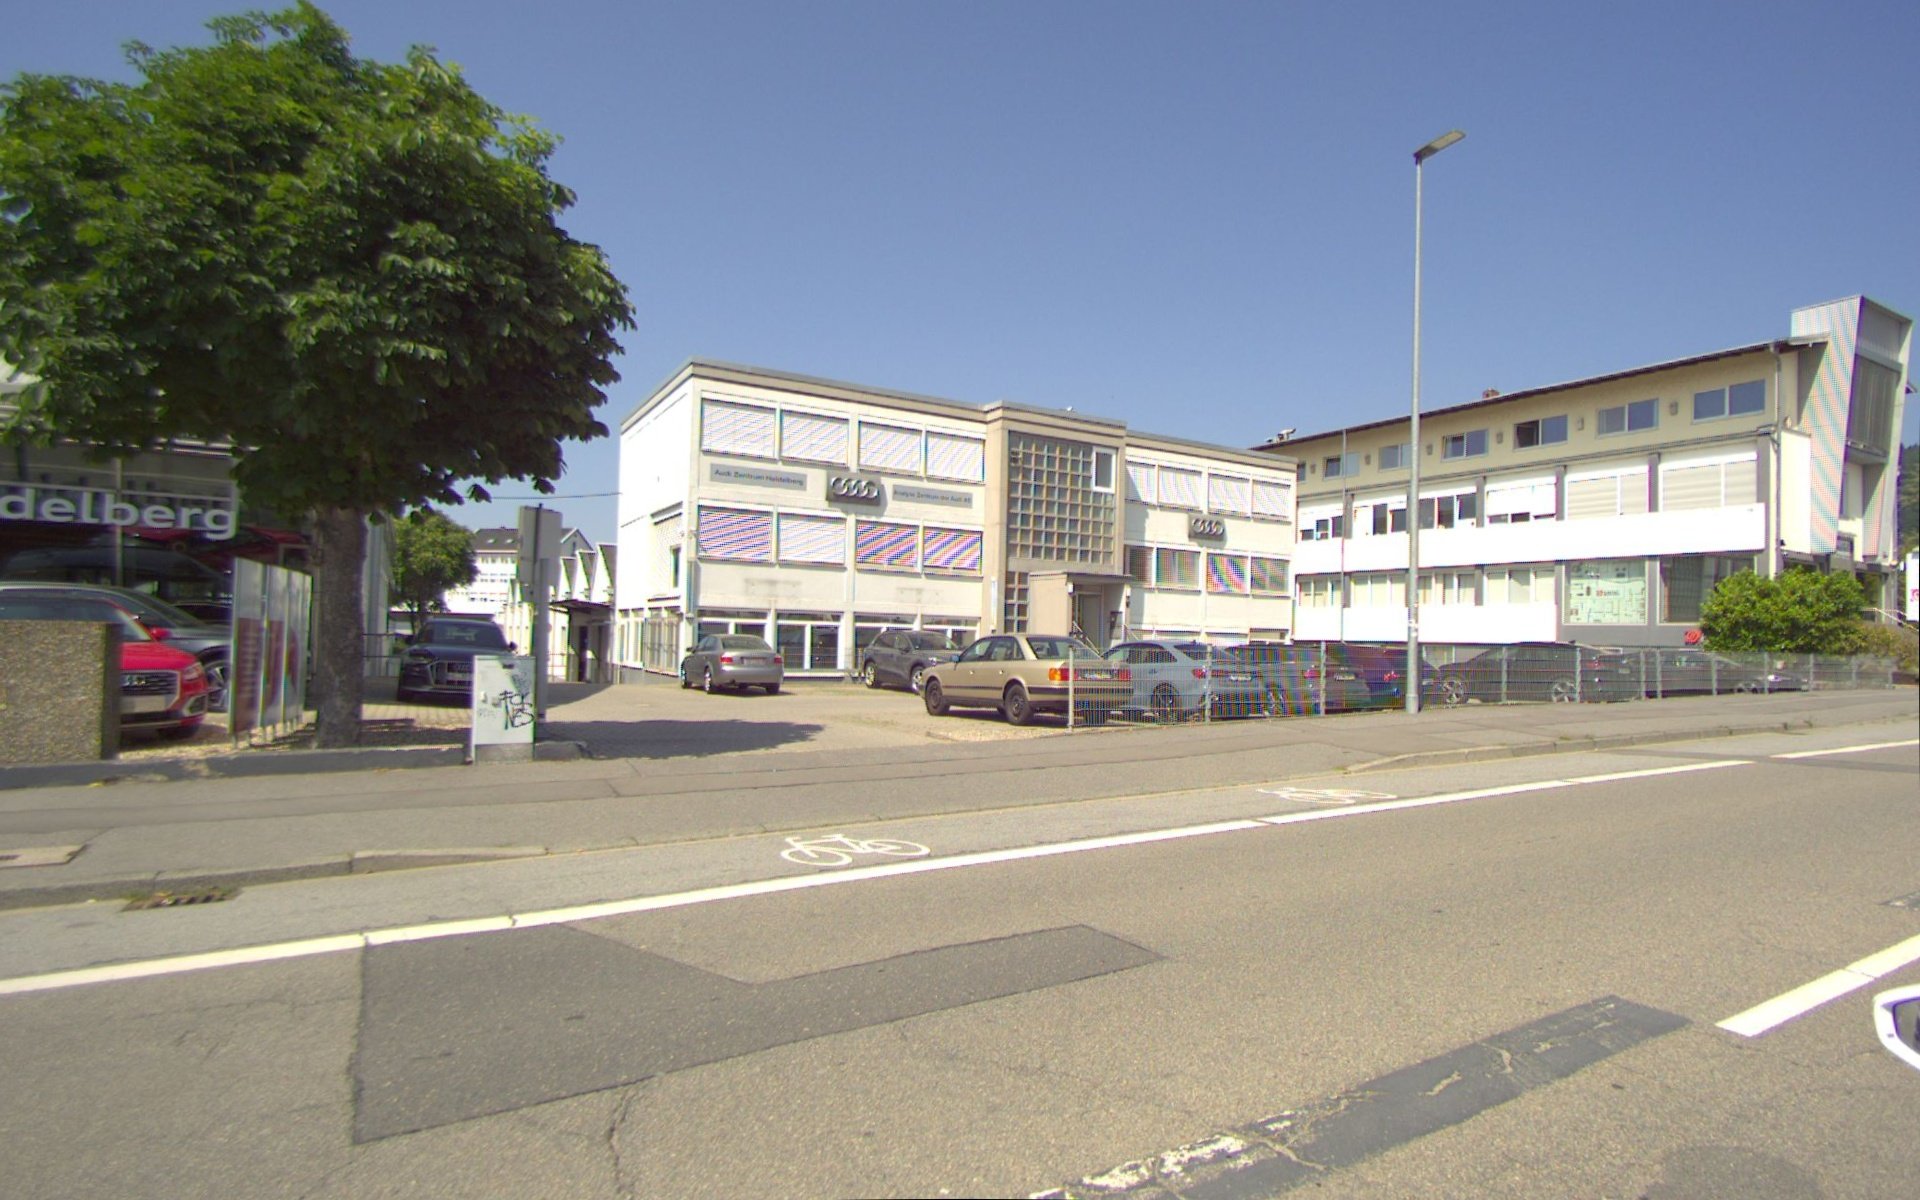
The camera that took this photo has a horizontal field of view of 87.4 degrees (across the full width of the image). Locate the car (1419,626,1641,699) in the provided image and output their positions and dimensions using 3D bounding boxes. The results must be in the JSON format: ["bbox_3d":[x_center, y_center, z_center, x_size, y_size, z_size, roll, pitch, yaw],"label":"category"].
[{"bbox_3d":[13.614,1.435,24.235,1.974,1.579,4.271,2,-2,-33],"label":"car"}]

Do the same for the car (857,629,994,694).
[{"bbox_3d":[-1.044,1.632,27.755,1.839,1.574,4.329,2,-1,-32],"label":"car"}]

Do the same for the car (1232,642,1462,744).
[{"bbox_3d":[7.715,1.821,20.382,1.840,1.510,3.963,4,1,-33],"label":"car"}]

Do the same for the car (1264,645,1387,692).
[{"bbox_3d":[13.259,2.433,36.613,1.838,1.480,3.967,2,-1,-31],"label":"car"}]

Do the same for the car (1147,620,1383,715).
[{"bbox_3d":[5.562,1.359,18.795,1.839,1.461,3.969,4,-9,-32],"label":"car"}]

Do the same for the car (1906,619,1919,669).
[{"bbox_3d":[38.045,1.685,36.856,2.071,1.890,4.537,1,-1,-34],"label":"car"}]

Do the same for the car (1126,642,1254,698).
[{"bbox_3d":[7.370,2.206,32.542,1.838,1.566,3.967,2,-1,-31],"label":"car"}]

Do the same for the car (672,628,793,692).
[{"bbox_3d":[-5.714,1.429,24.922,1.837,1.377,3.968,1,-1,-30],"label":"car"}]

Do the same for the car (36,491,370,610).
[{"bbox_3d":[-12.315,-0.732,16.683,3.936,1.706,1.993,1,-1,-17],"label":"car"}]

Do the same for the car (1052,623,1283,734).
[{"bbox_3d":[3.545,1.333,17.822,1.803,1.463,3.869,4,1,-31],"label":"car"}]

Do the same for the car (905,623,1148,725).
[{"bbox_3d":[0.957,1.140,16.996,1.879,1.477,4.500,1,-2,-31],"label":"car"}]

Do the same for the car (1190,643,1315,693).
[{"bbox_3d":[9.687,2.227,33.595,1.792,1.421,3.973,3,-2,-26],"label":"car"}]

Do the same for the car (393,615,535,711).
[{"bbox_3d":[-8.728,1.048,17.958,1.855,1.527,3.461,1,-1,-20],"label":"car"}]

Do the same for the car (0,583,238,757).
[{"bbox_3d":[-9.856,0.634,10.857,3.928,1.571,1.856,1,-1,30],"label":"car"}]

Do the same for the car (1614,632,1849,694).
[{"bbox_3d":[20.909,1.640,27.463,2.025,1.500,4.715,1,-2,-31],"label":"car"}]

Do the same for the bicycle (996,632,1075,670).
[{"bbox_3d":[2.478,1.669,32.938,2.548,1.194,0.920,1,-1,-33],"label":"bicycle"}]
